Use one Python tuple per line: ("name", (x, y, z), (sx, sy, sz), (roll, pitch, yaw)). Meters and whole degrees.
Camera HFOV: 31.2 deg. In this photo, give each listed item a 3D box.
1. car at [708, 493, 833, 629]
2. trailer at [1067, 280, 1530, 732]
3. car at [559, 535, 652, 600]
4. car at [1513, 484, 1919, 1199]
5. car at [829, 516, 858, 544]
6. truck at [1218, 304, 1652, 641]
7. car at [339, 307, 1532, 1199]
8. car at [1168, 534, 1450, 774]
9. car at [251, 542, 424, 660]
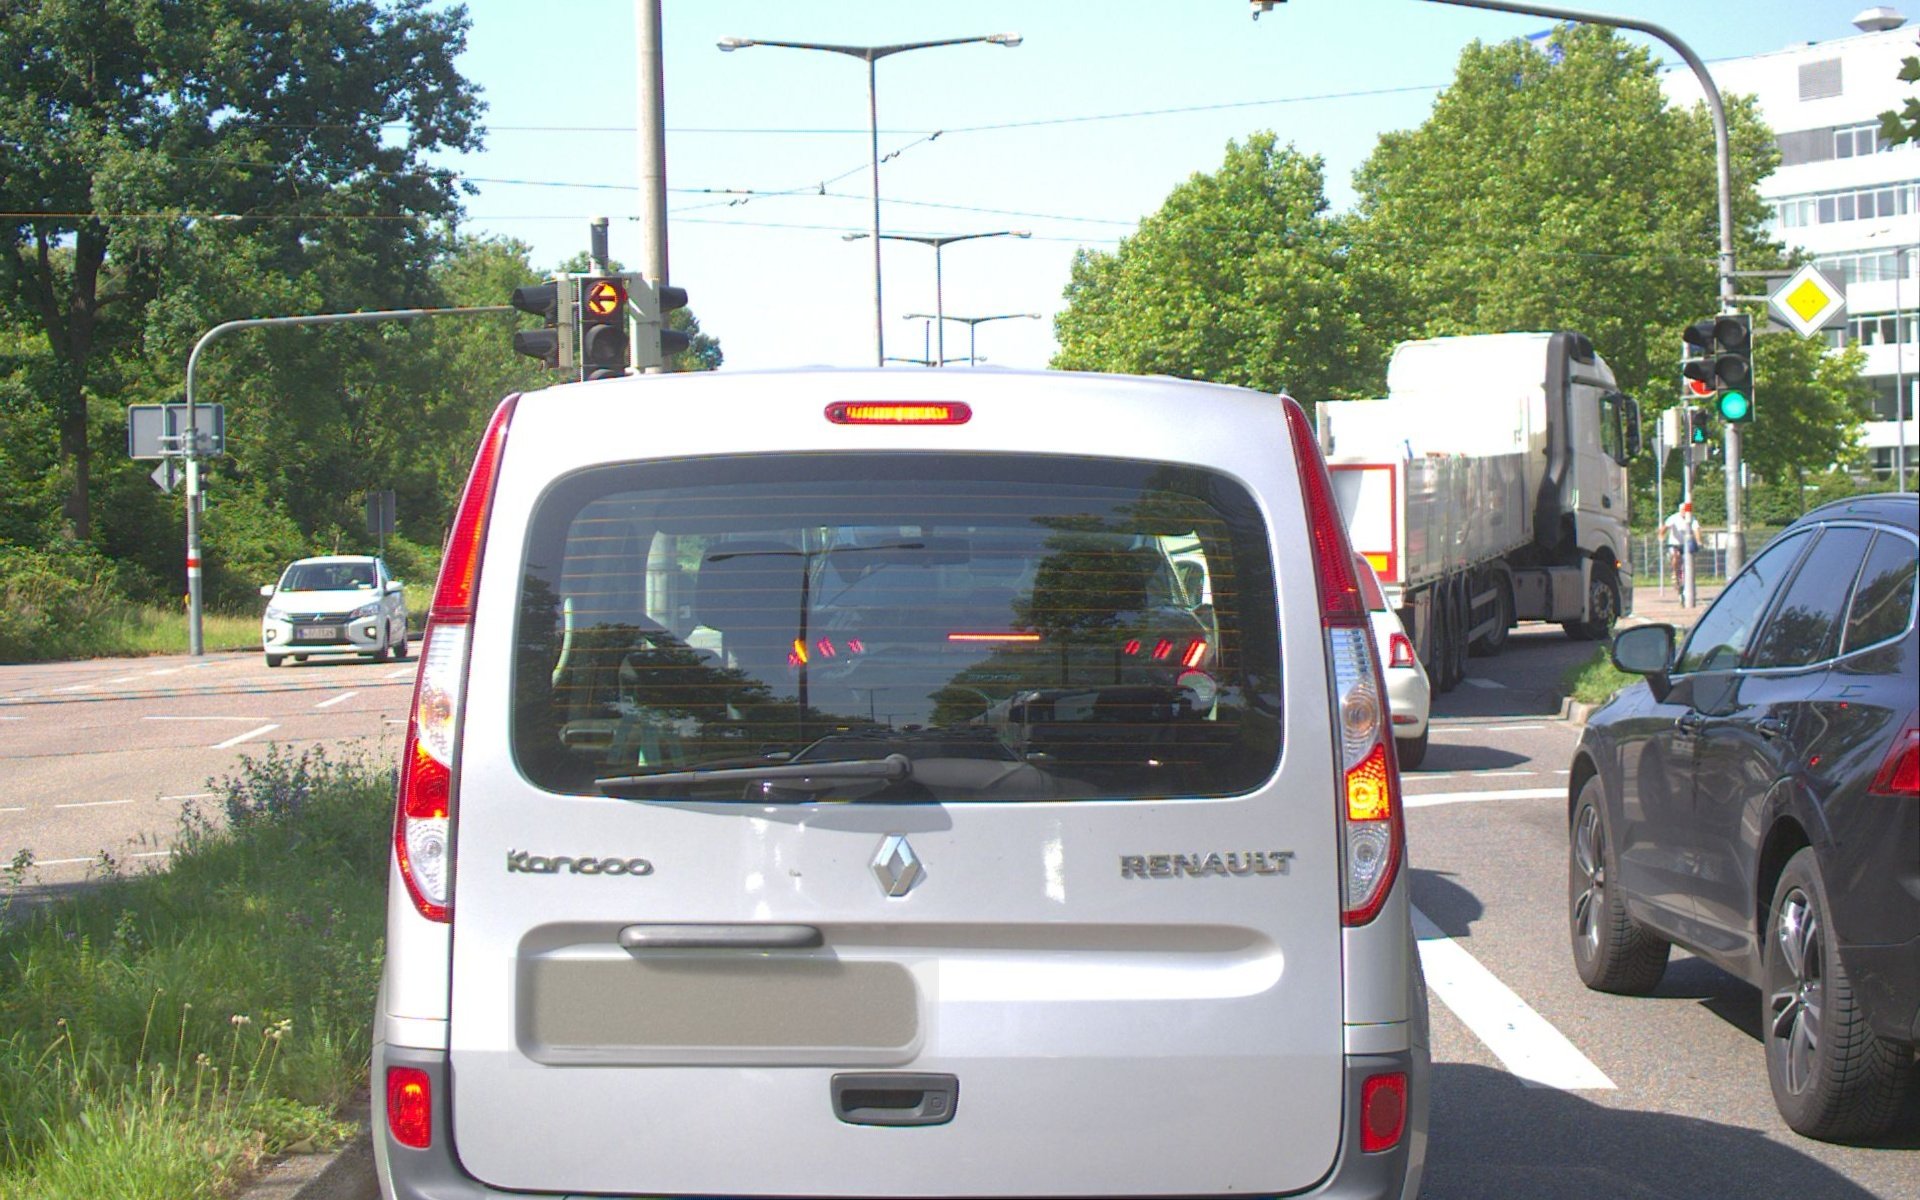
("car", (-3.785, -0.790, 69.567), (1.994, 2.598, 5.133), (-1, 0, 2))
("trailer", (3.736, -0.815, 33.966), (2.902, 3.610, 12.678), (1, 1, 13))
("car", (-9.344, -0.866, 90.856), (1.911, 1.636, 3.737), (-1, 0, 2))
("car", (2.914, 0.525, 9.852), (1.875, 1.586, 4.434), (1, 1, -1))
("car", (-8.482, -5.087, 250.725), (1.888, 2.007, 4.000), (1, 1, 2))
("truck", (5.805, -1.405, 40.838), (2.915, 3.630, 7.179), (1, 1, 27))
("car", (-0.063, 0.467, 7.202), (1.786, 1.831, 4.000), (1, 1, -1))
("car", (2.319, 0.327, 23.523), (1.538, 1.509, 3.260), (1, 1, -1))
("car", (-8.603, -0.020, 47.802), (1.699, 1.503, 4.000), (-1, 2, -1))
